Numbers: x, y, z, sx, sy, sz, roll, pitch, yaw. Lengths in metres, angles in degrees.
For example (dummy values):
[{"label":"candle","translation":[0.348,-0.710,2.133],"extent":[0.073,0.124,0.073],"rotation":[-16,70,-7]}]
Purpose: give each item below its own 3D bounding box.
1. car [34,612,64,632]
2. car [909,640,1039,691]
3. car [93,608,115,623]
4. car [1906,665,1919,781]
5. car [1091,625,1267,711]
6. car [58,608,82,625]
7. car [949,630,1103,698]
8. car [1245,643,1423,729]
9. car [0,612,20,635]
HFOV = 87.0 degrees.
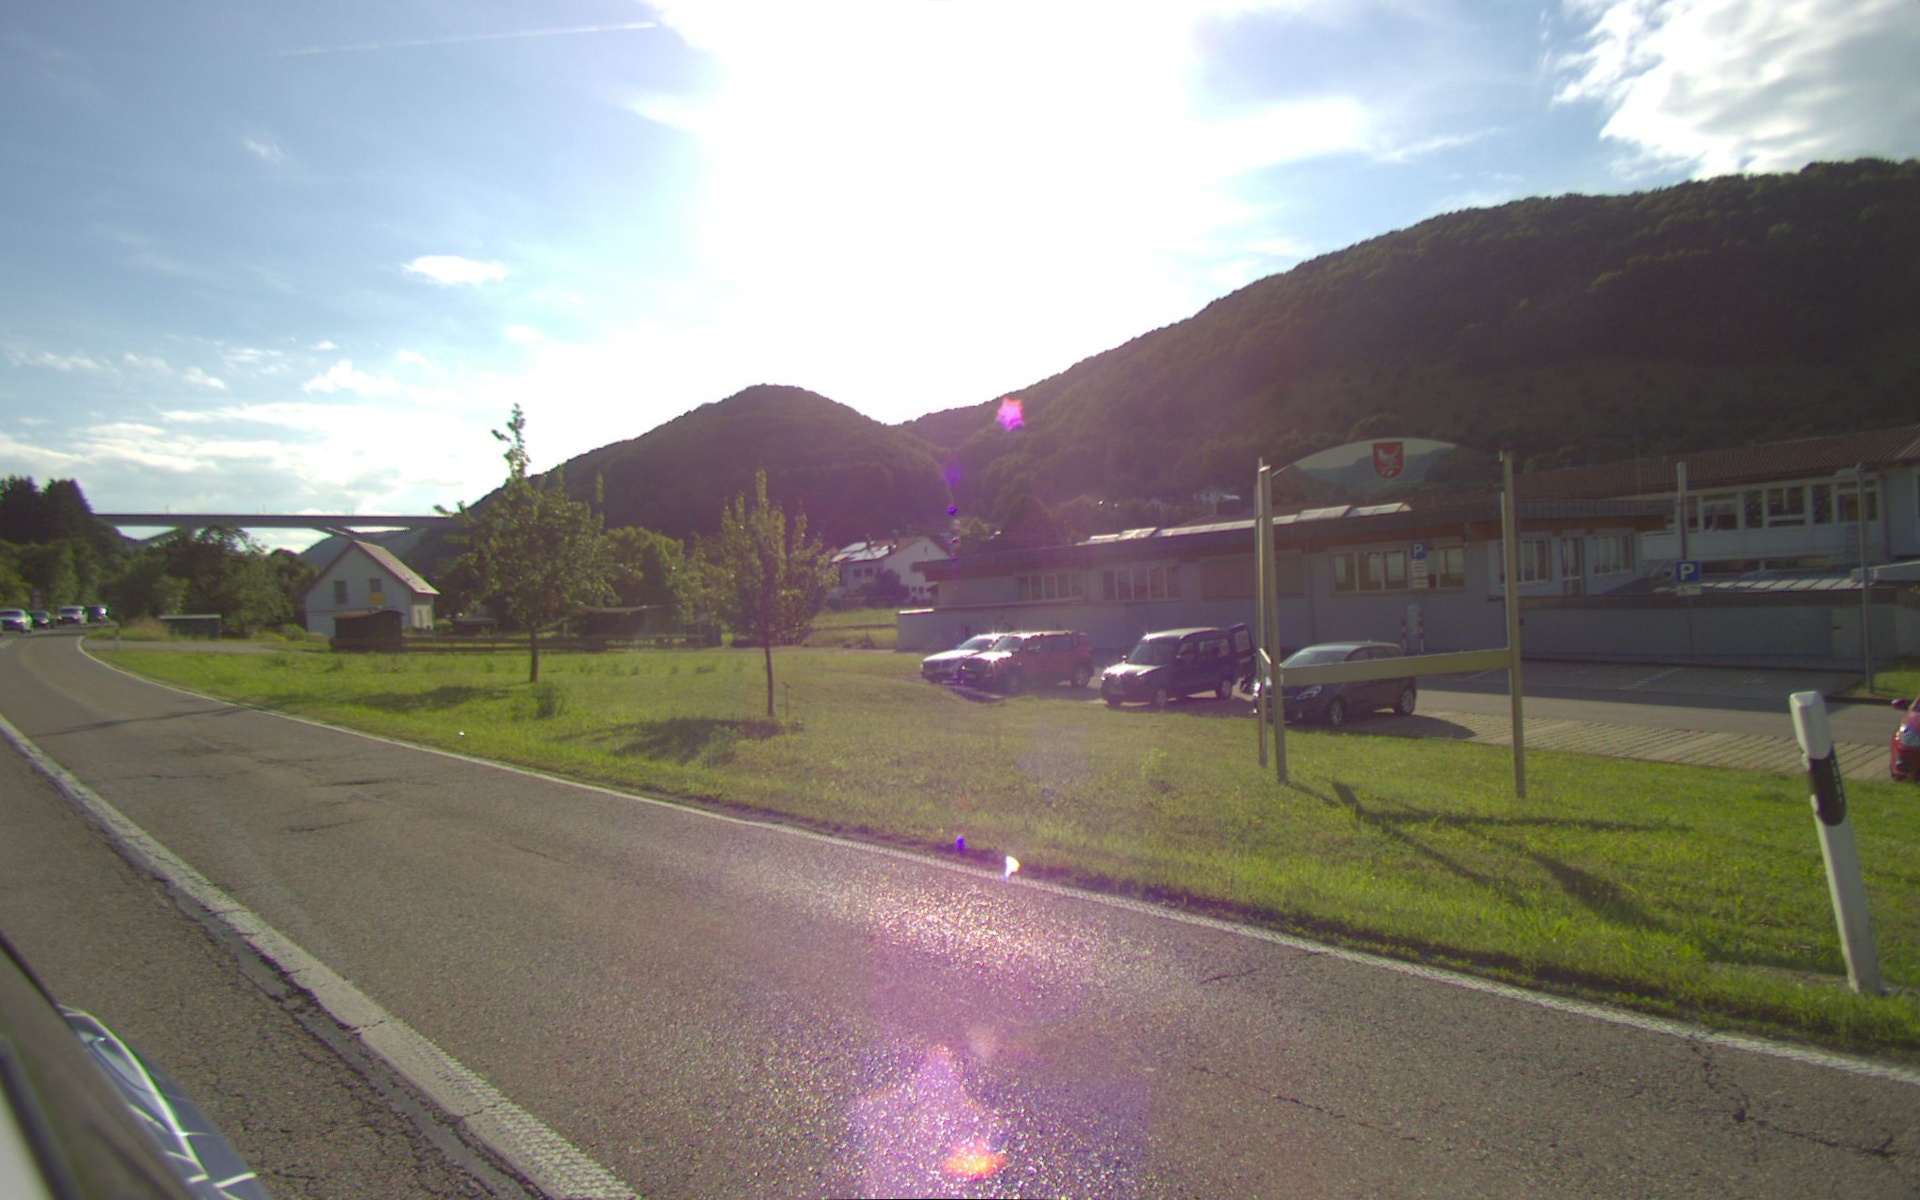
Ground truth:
[{"label":"car","translation":[-72.667,1.713,80.752],"extent":[1.605,1.490,3.686],"rotation":[-1,0,-39]},{"label":"car","translation":[0.478,2.052,32.444],"extent":[3.835,1.379,1.857],"rotation":[0,0,-37]},{"label":"car","translation":[-90.231,1.654,106.705],"extent":[1.605,1.490,3.686],"rotation":[-1,0,-39]},{"label":"car","translation":[13.906,1.539,13.293],"extent":[3.673,1.408,1.619],"rotation":[-1,0,-38]},{"label":"car","translation":[5.625,1.625,25.621],"extent":[4.929,1.807,1.687],"rotation":[-1,0,-40]},{"label":"car","translation":[-82.571,1.500,93.885],"extent":[1.607,1.490,3.683],"rotation":[-1,0,-43]},{"label":"car","translation":[1.959,1.822,29.650],"extent":[4.263,1.682,1.853],"rotation":[-1,0,-34]},{"label":"car","translation":[7.848,1.725,21.079],"extent":[3.957,1.463,1.687],"rotation":[-1,-2,-40]},{"label":"car","translation":[-64.021,1.579,67.581],"extent":[3.680,1.490,1.608],"rotation":[0,0,44]}]
